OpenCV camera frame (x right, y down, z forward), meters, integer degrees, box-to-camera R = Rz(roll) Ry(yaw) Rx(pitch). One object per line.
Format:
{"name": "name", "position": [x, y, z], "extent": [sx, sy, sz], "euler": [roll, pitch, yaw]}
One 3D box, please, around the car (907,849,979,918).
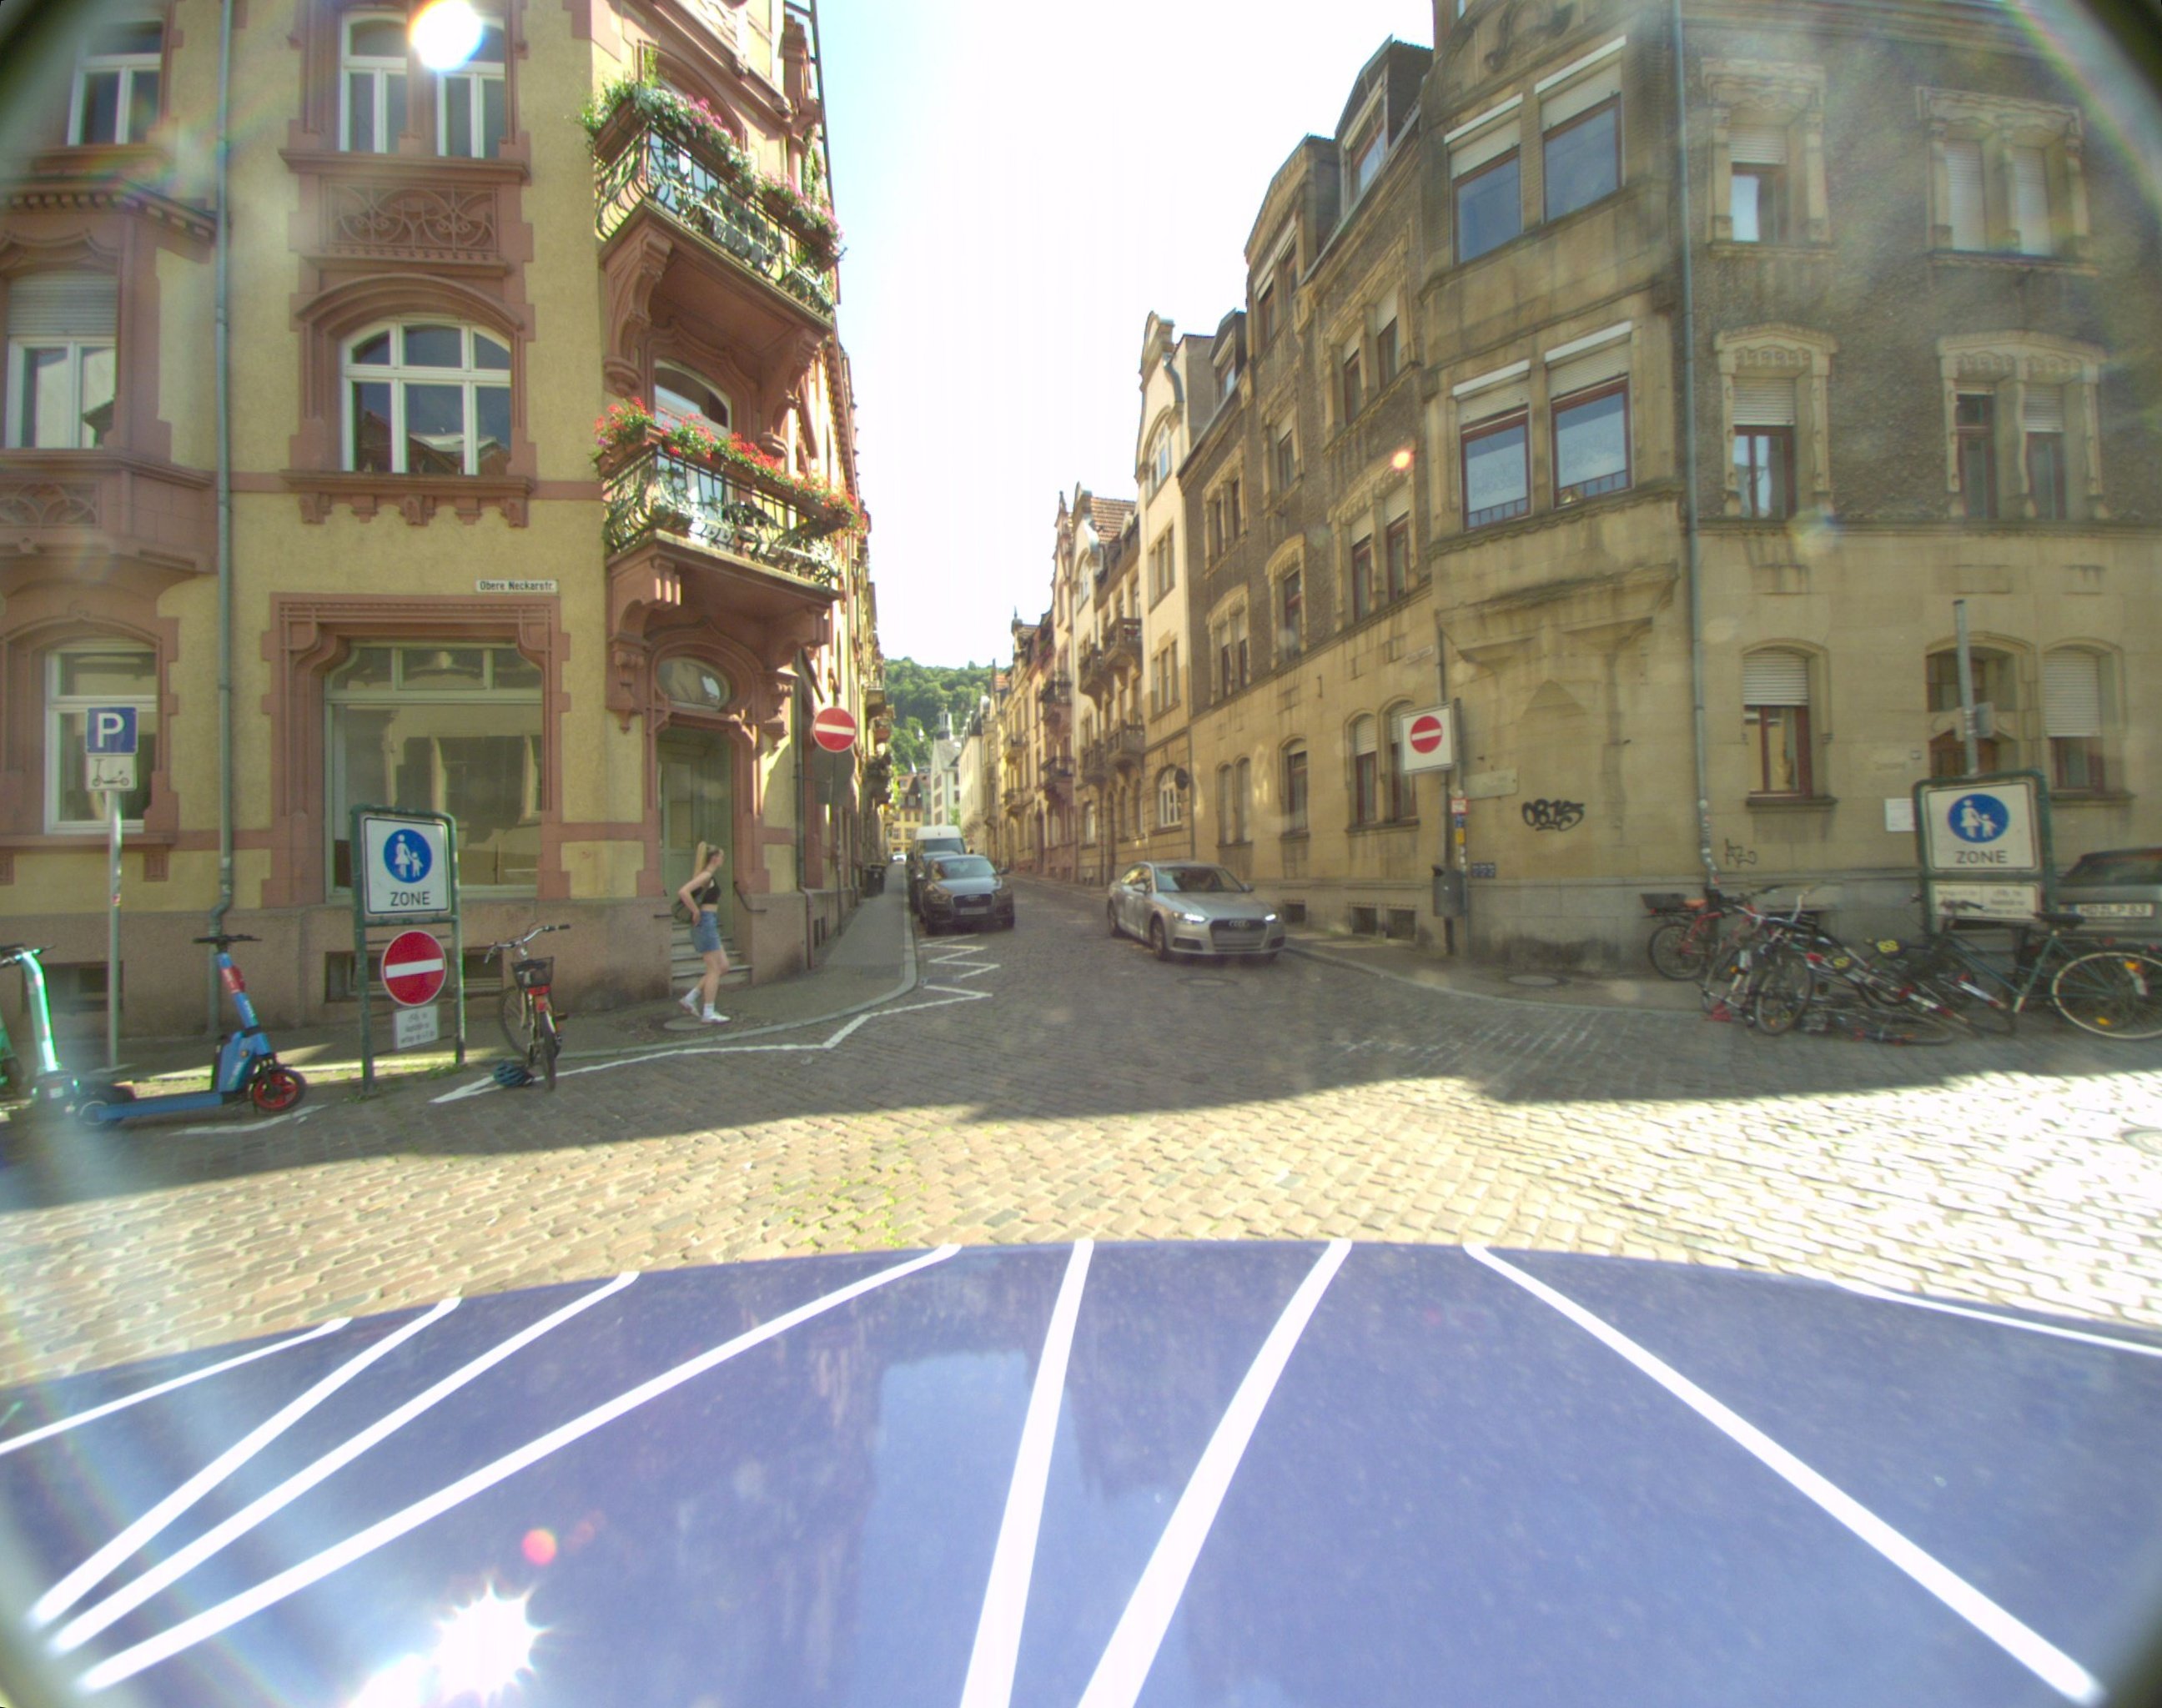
{"name": "car", "position": [-4.072, 0.752, 21.966], "extent": [1.762, 1.696, 3.995], "euler": [-4, 1, -13]}

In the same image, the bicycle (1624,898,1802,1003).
{"name": "bicycle", "position": [7.197, 1.087, 8.678], "extent": [1.642, 1.080, 0.495], "euler": [-1, 4, -4]}

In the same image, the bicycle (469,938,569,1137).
{"name": "bicycle", "position": [-4.336, 1.293, 5.814], "extent": [0.506, 1.139, 1.788], "euler": [-1, 0, -40]}

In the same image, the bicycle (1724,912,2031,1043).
{"name": "bicycle", "position": [7.006, 1.045, 6.811], "extent": [0.285, 1.080, 1.640], "euler": [-47, 10, -11]}

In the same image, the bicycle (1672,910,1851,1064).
{"name": "bicycle", "position": [5.877, 1.089, 6.673], "extent": [0.285, 1.079, 1.644], "euler": [-5, -1, 11]}

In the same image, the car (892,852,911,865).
{"name": "car", "position": [-24.898, 0.652, 105.238], "extent": [2.002, 1.652, 3.994], "euler": [-1, -1, -20]}

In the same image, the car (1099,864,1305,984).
{"name": "car", "position": [1.700, 0.954, 12.349], "extent": [1.878, 1.483, 4.378], "euler": [-1, 0, -11]}

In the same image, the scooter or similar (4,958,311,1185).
{"name": "scooter or similar", "position": [-5.860, 1.341, 4.885], "extent": [1.191, 1.227, 0.442], "euler": [-1, -1, -17]}

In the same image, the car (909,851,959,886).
{"name": "car", "position": [-6.929, 0.694, 35.614], "extent": [2.001, 1.517, 3.996], "euler": [-1, -1, -15]}

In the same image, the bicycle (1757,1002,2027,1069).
{"name": "bicycle", "position": [6.620, 1.482, 6.309], "extent": [1.077, 0.286, 1.125], "euler": [-1, -1, 10]}

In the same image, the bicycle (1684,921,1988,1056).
{"name": "bicycle", "position": [6.523, 1.124, 6.700], "extent": [0.285, 1.080, 1.640], "euler": [-47, 10, -11]}

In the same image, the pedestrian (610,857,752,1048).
{"name": "pedestrian", "position": [-3.910, 0.932, 7.490], "extent": [0.980, 1.749, 0.623], "euler": [-2, 3, -5]}

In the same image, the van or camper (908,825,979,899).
{"name": "van or camper", "position": [-5.420, 0.204, 29.249], "extent": [2.228, 2.506, 6.758], "euler": [-1, 1, -14]}

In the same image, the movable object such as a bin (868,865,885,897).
{"name": "movable object such as a bin", "position": [-7.086, 0.950, 26.362], "extent": [0.518, 1.083, 0.421], "euler": [-2, -1, -13]}

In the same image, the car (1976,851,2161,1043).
{"name": "car", "position": [10.639, 0.717, 6.522], "extent": [3.927, 1.535, 1.852], "euler": [-1, -1, -4]}

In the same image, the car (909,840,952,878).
{"name": "car", "position": [-8.029, 0.287, 40.284], "extent": [2.001, 1.904, 3.996], "euler": [-1, -1, -15]}

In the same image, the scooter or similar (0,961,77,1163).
{"name": "scooter or similar", "position": [-7.363, 1.400, 5.310], "extent": [1.187, 1.202, 0.343], "euler": [-2, -1, 40]}

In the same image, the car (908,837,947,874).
{"name": "car", "position": [-9.383, 0.135, 46.245], "extent": [2.001, 2.132, 3.996], "euler": [-1, -1, -15]}

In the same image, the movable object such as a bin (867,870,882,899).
{"name": "movable object such as a bin", "position": [-6.838, 1.009, 25.186], "extent": [0.440, 0.952, 0.349], "euler": [-2, -1, -13]}

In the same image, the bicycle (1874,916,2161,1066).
{"name": "bicycle", "position": [7.667, 1.049, 6.159], "extent": [0.286, 1.078, 1.639], "euler": [1, -4, -31]}

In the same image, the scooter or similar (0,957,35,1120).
{"name": "scooter or similar", "position": [-8.257, 1.405, 5.378], "extent": [0.413, 1.202, 1.233], "euler": [-1, -1, -23]}

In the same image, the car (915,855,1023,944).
{"name": "car", "position": [-2.611, 0.874, 16.794], "extent": [1.863, 1.574, 4.254], "euler": [-3, 1, -14]}
